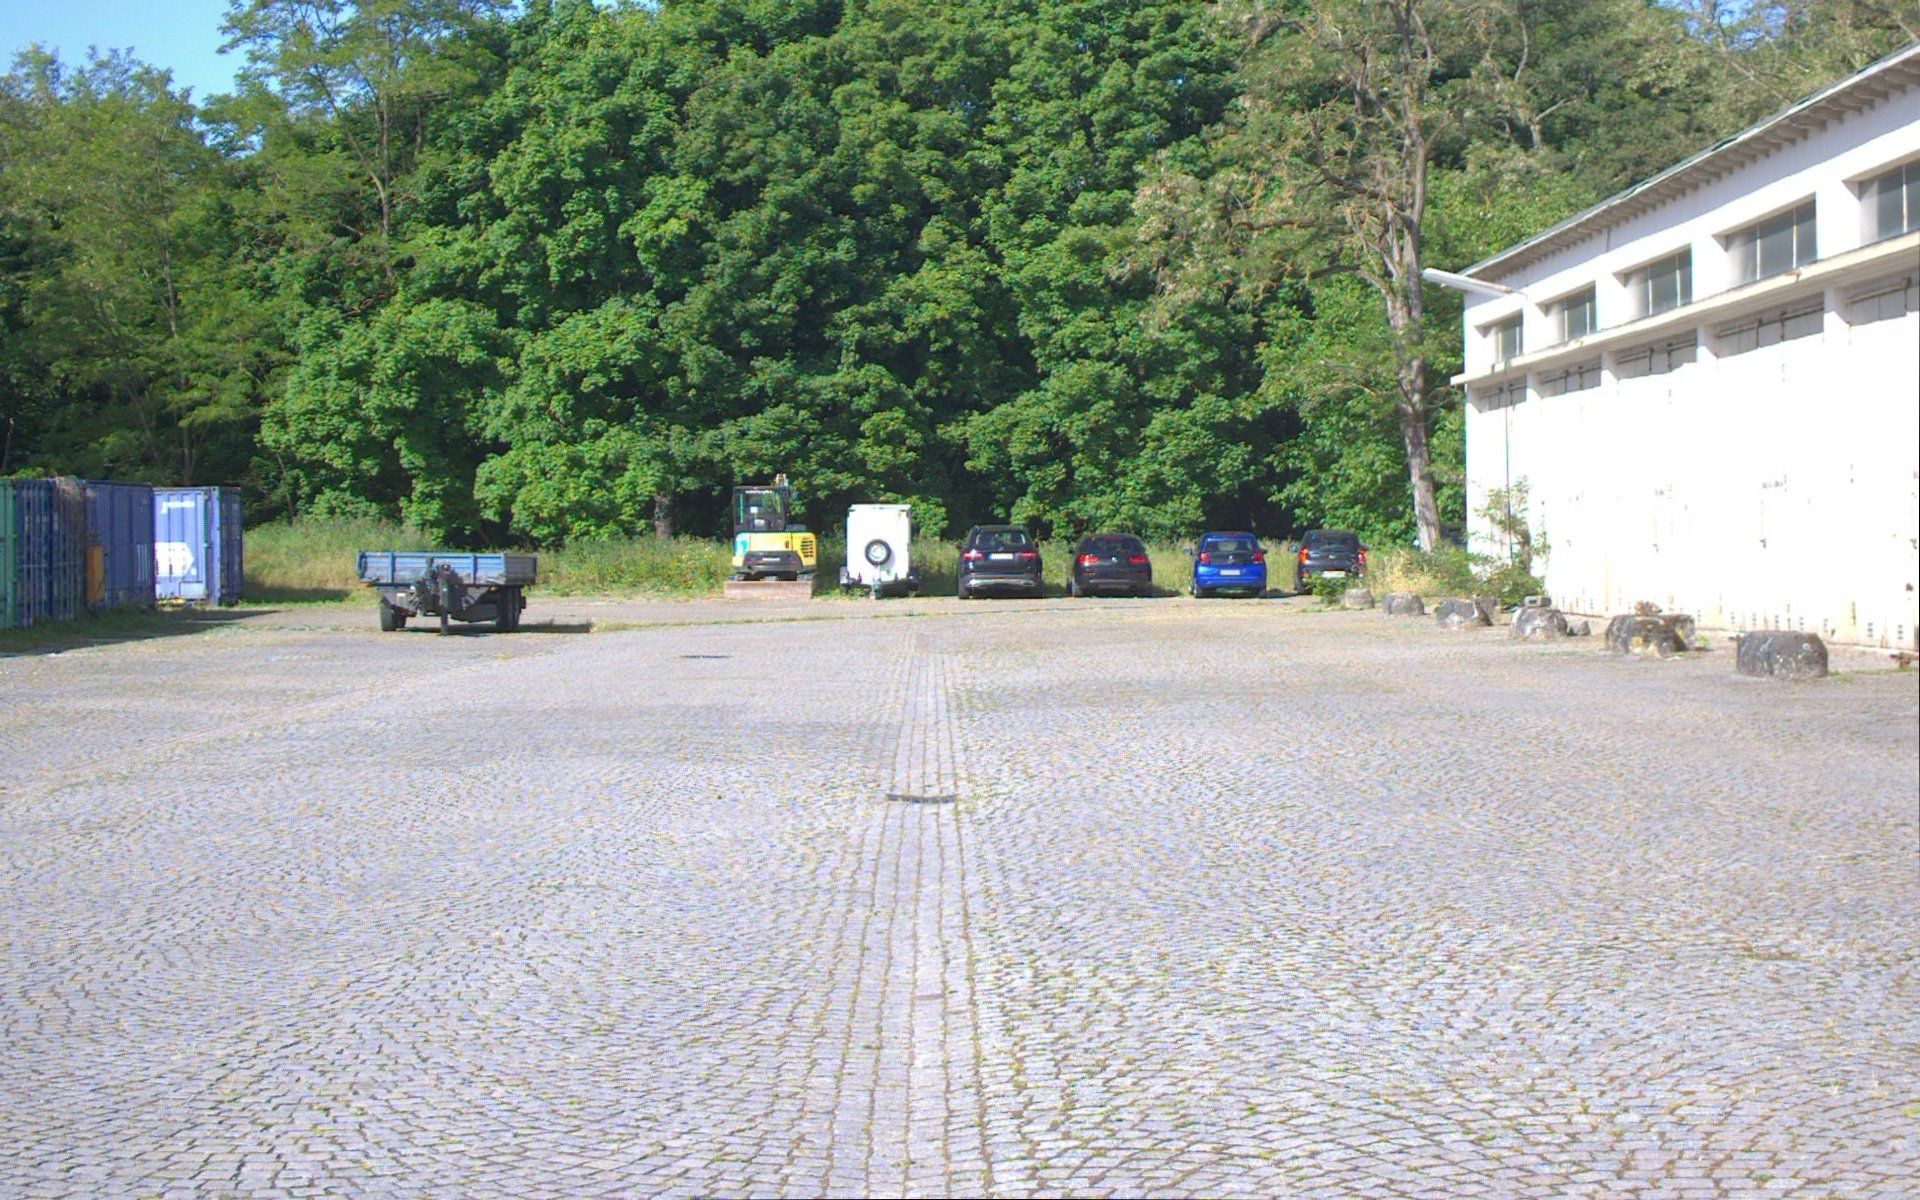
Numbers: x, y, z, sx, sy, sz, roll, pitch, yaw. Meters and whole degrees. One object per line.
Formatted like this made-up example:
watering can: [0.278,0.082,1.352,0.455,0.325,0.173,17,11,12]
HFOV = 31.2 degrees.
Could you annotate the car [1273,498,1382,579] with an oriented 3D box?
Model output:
car: [8.380,-1.420,78.645,1.993,1.766,4.000,-1,1,-1]

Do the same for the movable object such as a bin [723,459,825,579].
movable object such as a bin: [-4.251,-1.872,79.020,2.231,2.648,4.001,-1,1,-3]

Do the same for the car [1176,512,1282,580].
car: [6.029,-1.234,77.404,1.993,1.461,4.000,-1,1,-1]

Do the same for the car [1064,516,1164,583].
car: [3.438,-1.152,77.416,1.993,1.419,4.000,-1,1,-1]

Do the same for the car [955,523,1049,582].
car: [0.913,-1.077,77.044,1.993,1.254,4.000,-1,1,-1]

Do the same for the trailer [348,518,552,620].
trailer: [-8.782,-0.571,59.729,2.791,1.640,5.621,-1,1,-1]

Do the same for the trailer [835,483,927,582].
trailer: [-1.775,-1.533,78.269,1.993,2.155,4.432,-1,1,-1]
